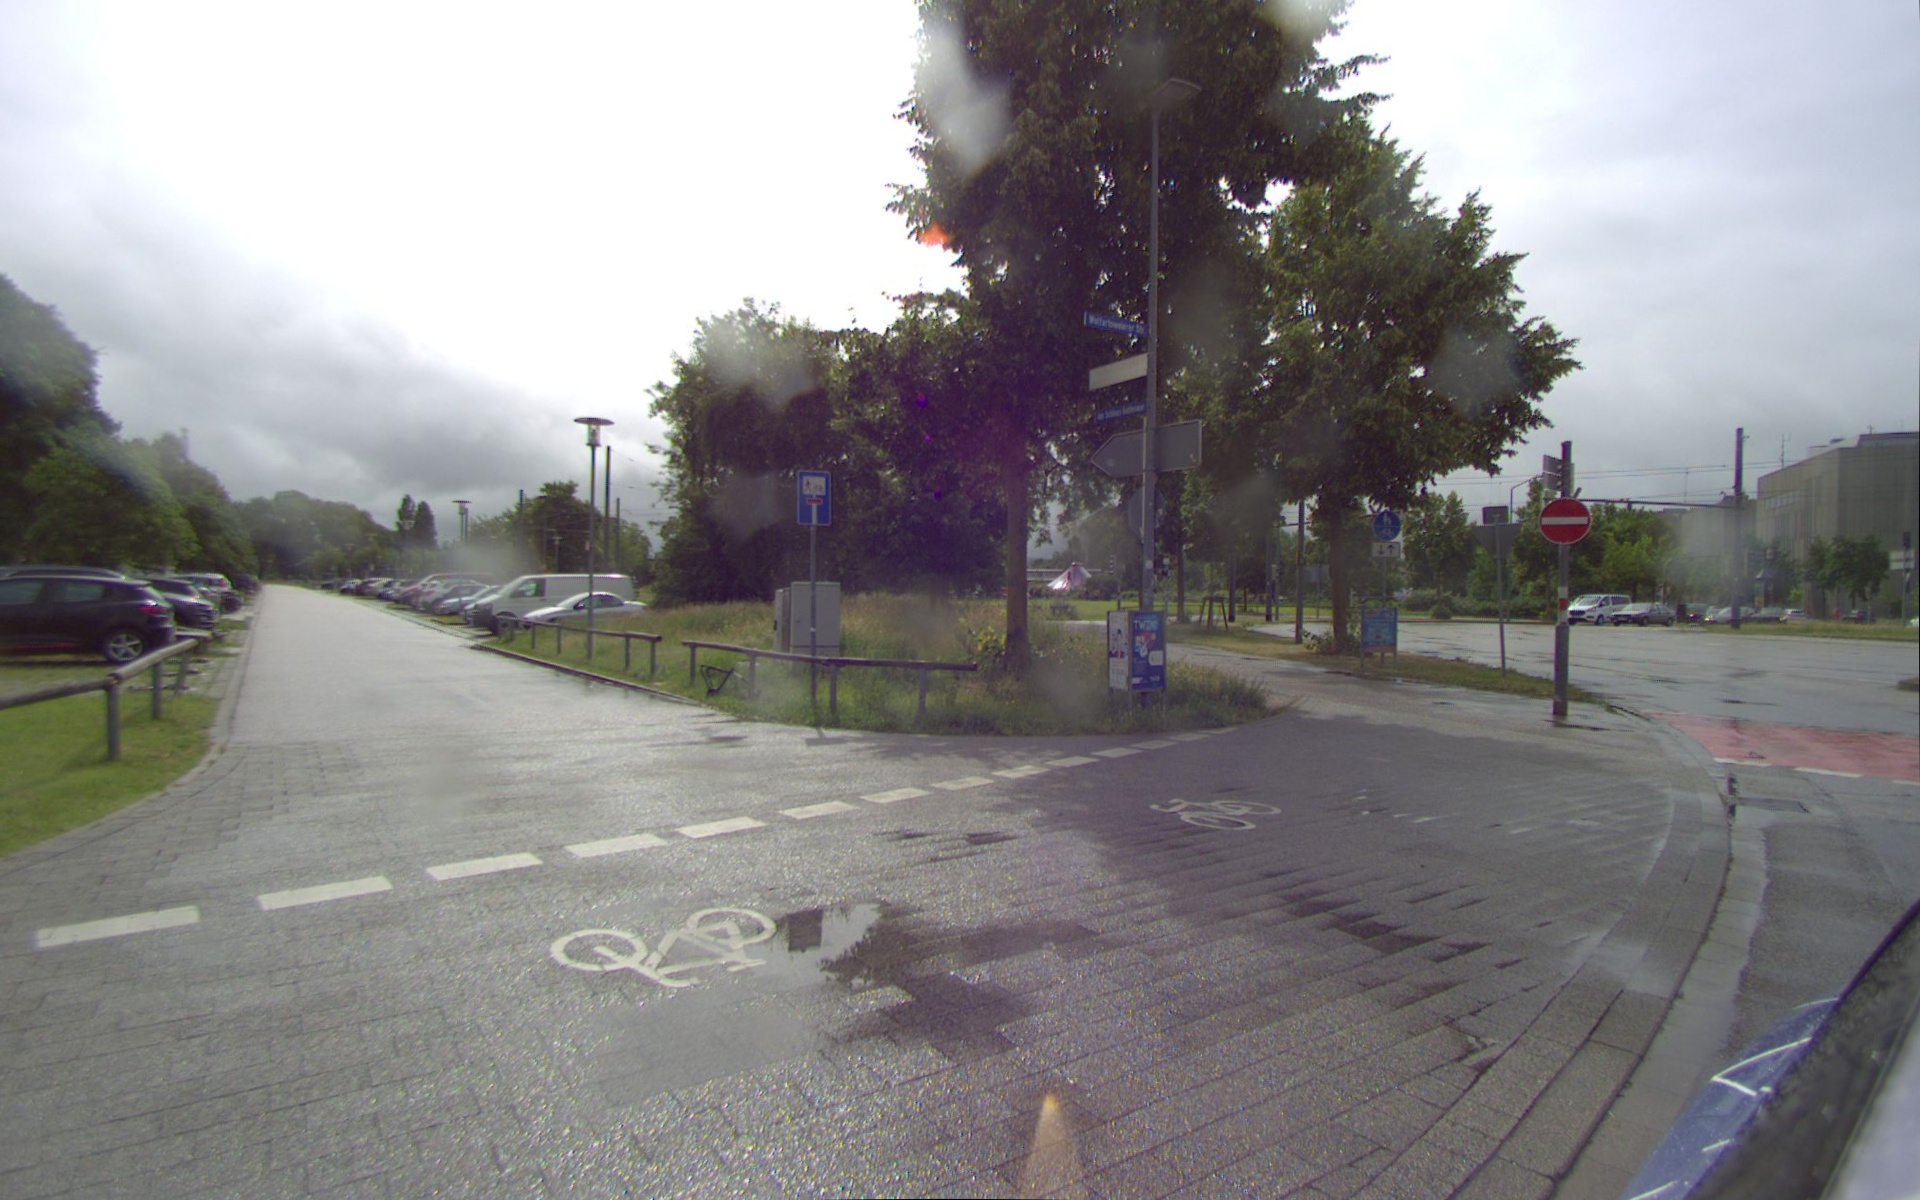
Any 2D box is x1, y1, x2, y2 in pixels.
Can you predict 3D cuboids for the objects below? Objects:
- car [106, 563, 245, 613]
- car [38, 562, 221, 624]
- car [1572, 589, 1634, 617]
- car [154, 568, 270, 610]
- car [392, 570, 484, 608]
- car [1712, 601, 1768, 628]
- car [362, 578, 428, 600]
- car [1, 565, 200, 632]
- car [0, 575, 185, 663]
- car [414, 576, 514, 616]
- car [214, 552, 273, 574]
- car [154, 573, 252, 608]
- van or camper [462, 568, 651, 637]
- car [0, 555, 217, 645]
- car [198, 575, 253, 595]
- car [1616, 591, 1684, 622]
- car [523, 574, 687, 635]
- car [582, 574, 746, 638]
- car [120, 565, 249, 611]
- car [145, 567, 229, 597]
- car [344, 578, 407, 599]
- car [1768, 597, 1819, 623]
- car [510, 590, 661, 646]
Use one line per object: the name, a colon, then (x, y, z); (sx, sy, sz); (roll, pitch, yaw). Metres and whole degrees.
car: (-31.568, -0.467, 40.898); (4.309, 1.873, 1.935); (1, 1, -36)
car: (-23.597, -0.185, 28.957); (3.926, 1.683, 1.615); (1, 1, -36)
car: (41.435, 0.195, 65.216); (4.149, 1.735, 1.893); (1, 1, -35)
car: (-35.439, -0.498, 48.050); (4.309, 1.873, 1.935); (1, 1, -36)
car: (-28.506, -0.605, 55.296); (4.193, 1.952, 1.935); (1, 1, -36)
car: (49.732, 0.915, 64.486); (3.924, 1.616, 1.771); (0, 0, -36)
car: (-42.306, -0.827, 75.770); (4.117, 1.568, 1.935); (1, 1, -36)
car: (-22.918, -0.031, 27.193); (3.926, 1.683, 1.615); (1, 1, -36)
car: (-14.789, 0.282, 16.139); (3.803, 1.342, 1.391); (1, 1, -37)
car: (-23.405, -0.186, 47.783); (3.925, 1.760, 1.935); (1, 1, -36)
car: (-65.902, -3.363, 93.102); (4.309, 1.873, 1.935); (1, 1, -36)
car: (-38.513, -0.457, 51.603); (3.926, 1.683, 1.615); (1, 1, -36)
van or camper: (-13.430, 0.112, 33.876); (5.570, 2.131, 2.000); (1, 0, -35)
car: (-19.341, -0.005, 22.864); (4.055, 1.873, 1.935); (1, 1, -36)
car: (-71.499, -1.469, 98.595); (4.309, 1.873, 1.935); (1, 1, -36)
car: (40.310, 0.363, 59.080); (4.121, 1.710, 1.671); (1, 0, -30)
car: (-9.919, 0.121, 28.333); (3.925, 1.568, 1.935); (1, 1, -36)
car: (-7.786, 0.152, 26.670); (3.701, 1.568, 1.935); (1, 1, -36)
car: (-33.551, -0.508, 43.939); (4.309, 1.873, 1.935); (1, 1, -36)
car: (-50.703, -1.152, 66.506); (4.309, 1.873, 1.935); (1, 1, -36)
car: (-46.419, -0.904, 80.433); (4.117, 1.568, 1.935); (1, 1, -36)
car: (60.330, 0.734, 73.233); (3.924, 1.772, 1.869); (1, 1, -36)
car: (-11.334, 0.538, 30.718); (3.925, 1.568, 1.935); (1, 1, -36)
